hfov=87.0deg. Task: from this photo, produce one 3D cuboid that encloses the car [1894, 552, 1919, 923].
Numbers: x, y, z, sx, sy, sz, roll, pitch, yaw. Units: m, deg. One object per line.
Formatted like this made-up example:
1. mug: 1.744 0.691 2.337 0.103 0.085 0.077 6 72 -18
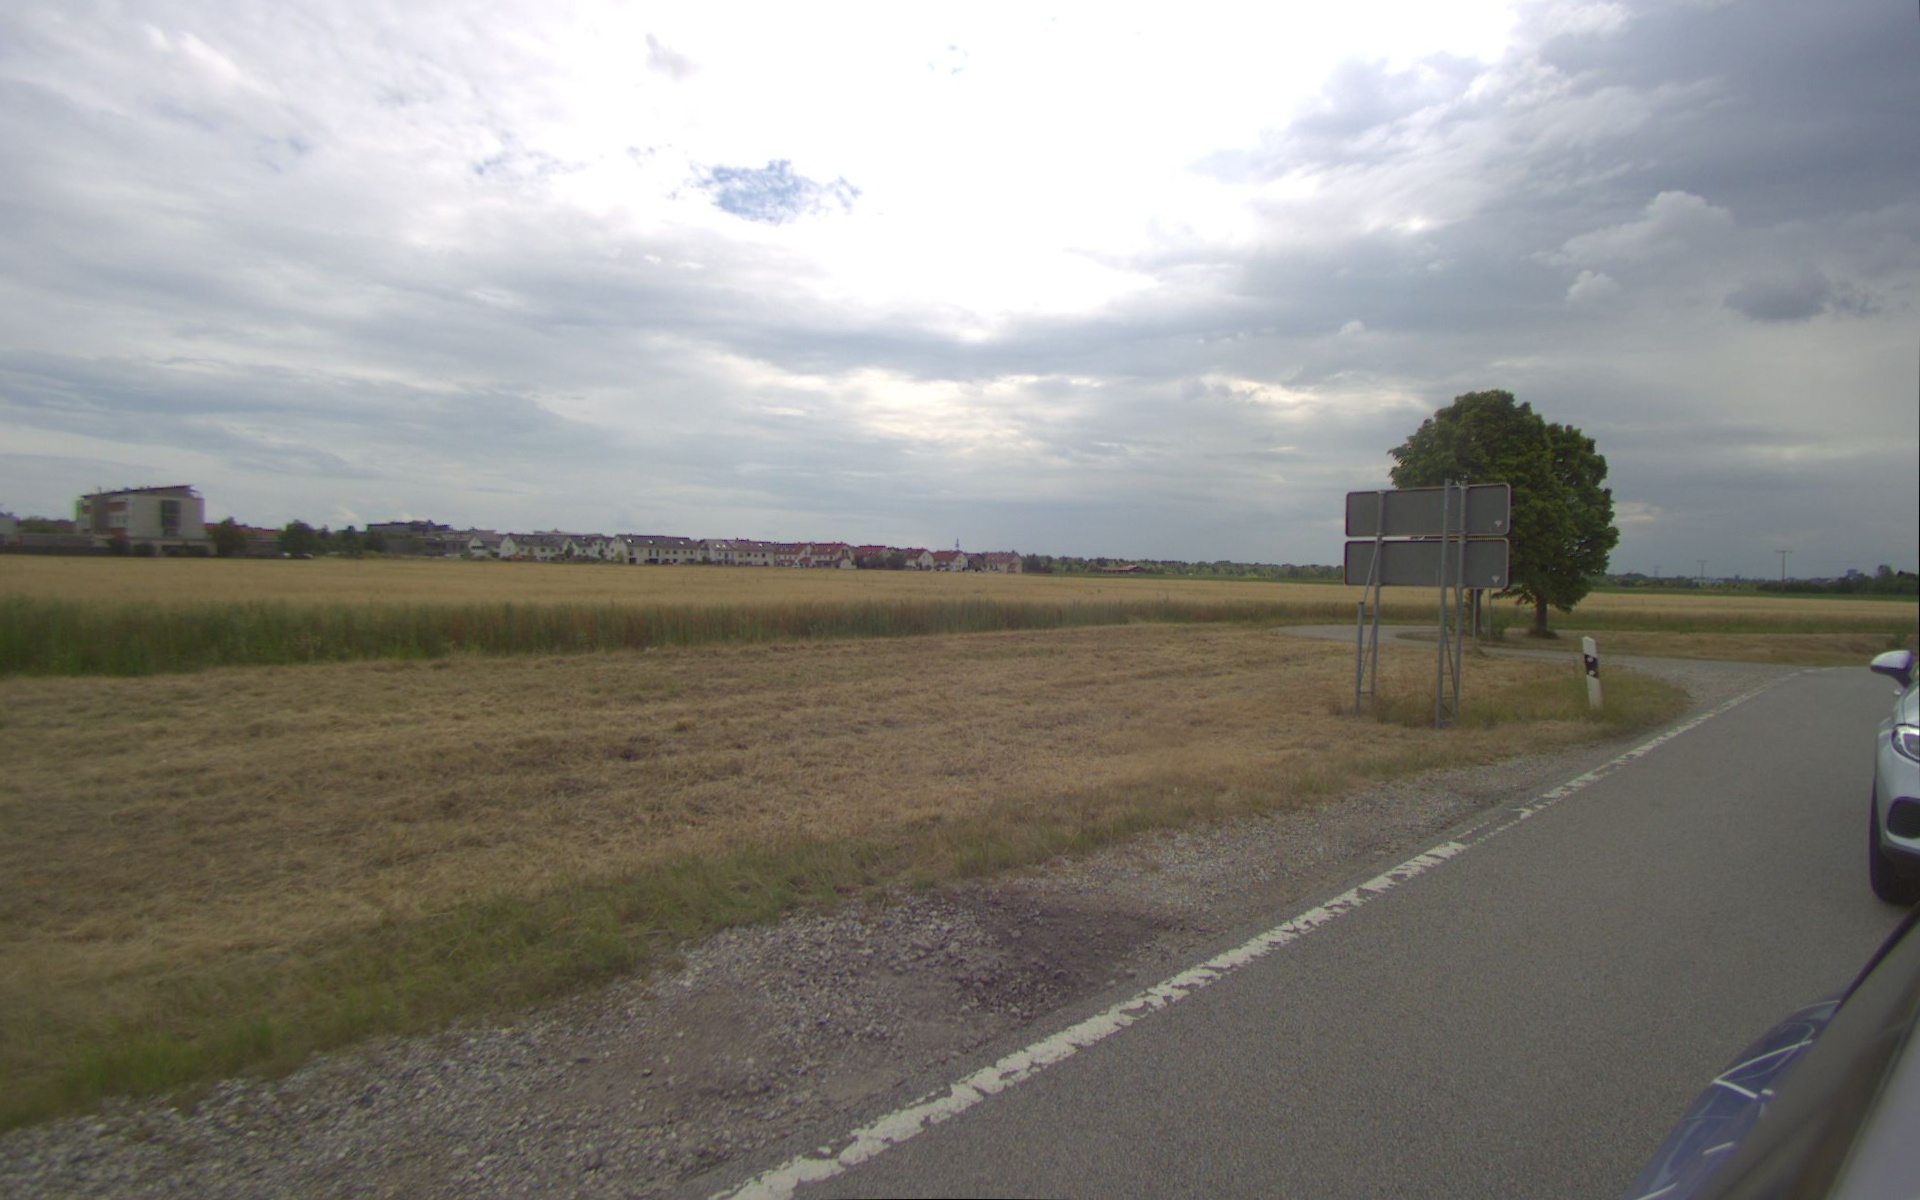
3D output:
1. car: 6.290 0.615 5.347 1.833 1.606 4.378 1 1 45
